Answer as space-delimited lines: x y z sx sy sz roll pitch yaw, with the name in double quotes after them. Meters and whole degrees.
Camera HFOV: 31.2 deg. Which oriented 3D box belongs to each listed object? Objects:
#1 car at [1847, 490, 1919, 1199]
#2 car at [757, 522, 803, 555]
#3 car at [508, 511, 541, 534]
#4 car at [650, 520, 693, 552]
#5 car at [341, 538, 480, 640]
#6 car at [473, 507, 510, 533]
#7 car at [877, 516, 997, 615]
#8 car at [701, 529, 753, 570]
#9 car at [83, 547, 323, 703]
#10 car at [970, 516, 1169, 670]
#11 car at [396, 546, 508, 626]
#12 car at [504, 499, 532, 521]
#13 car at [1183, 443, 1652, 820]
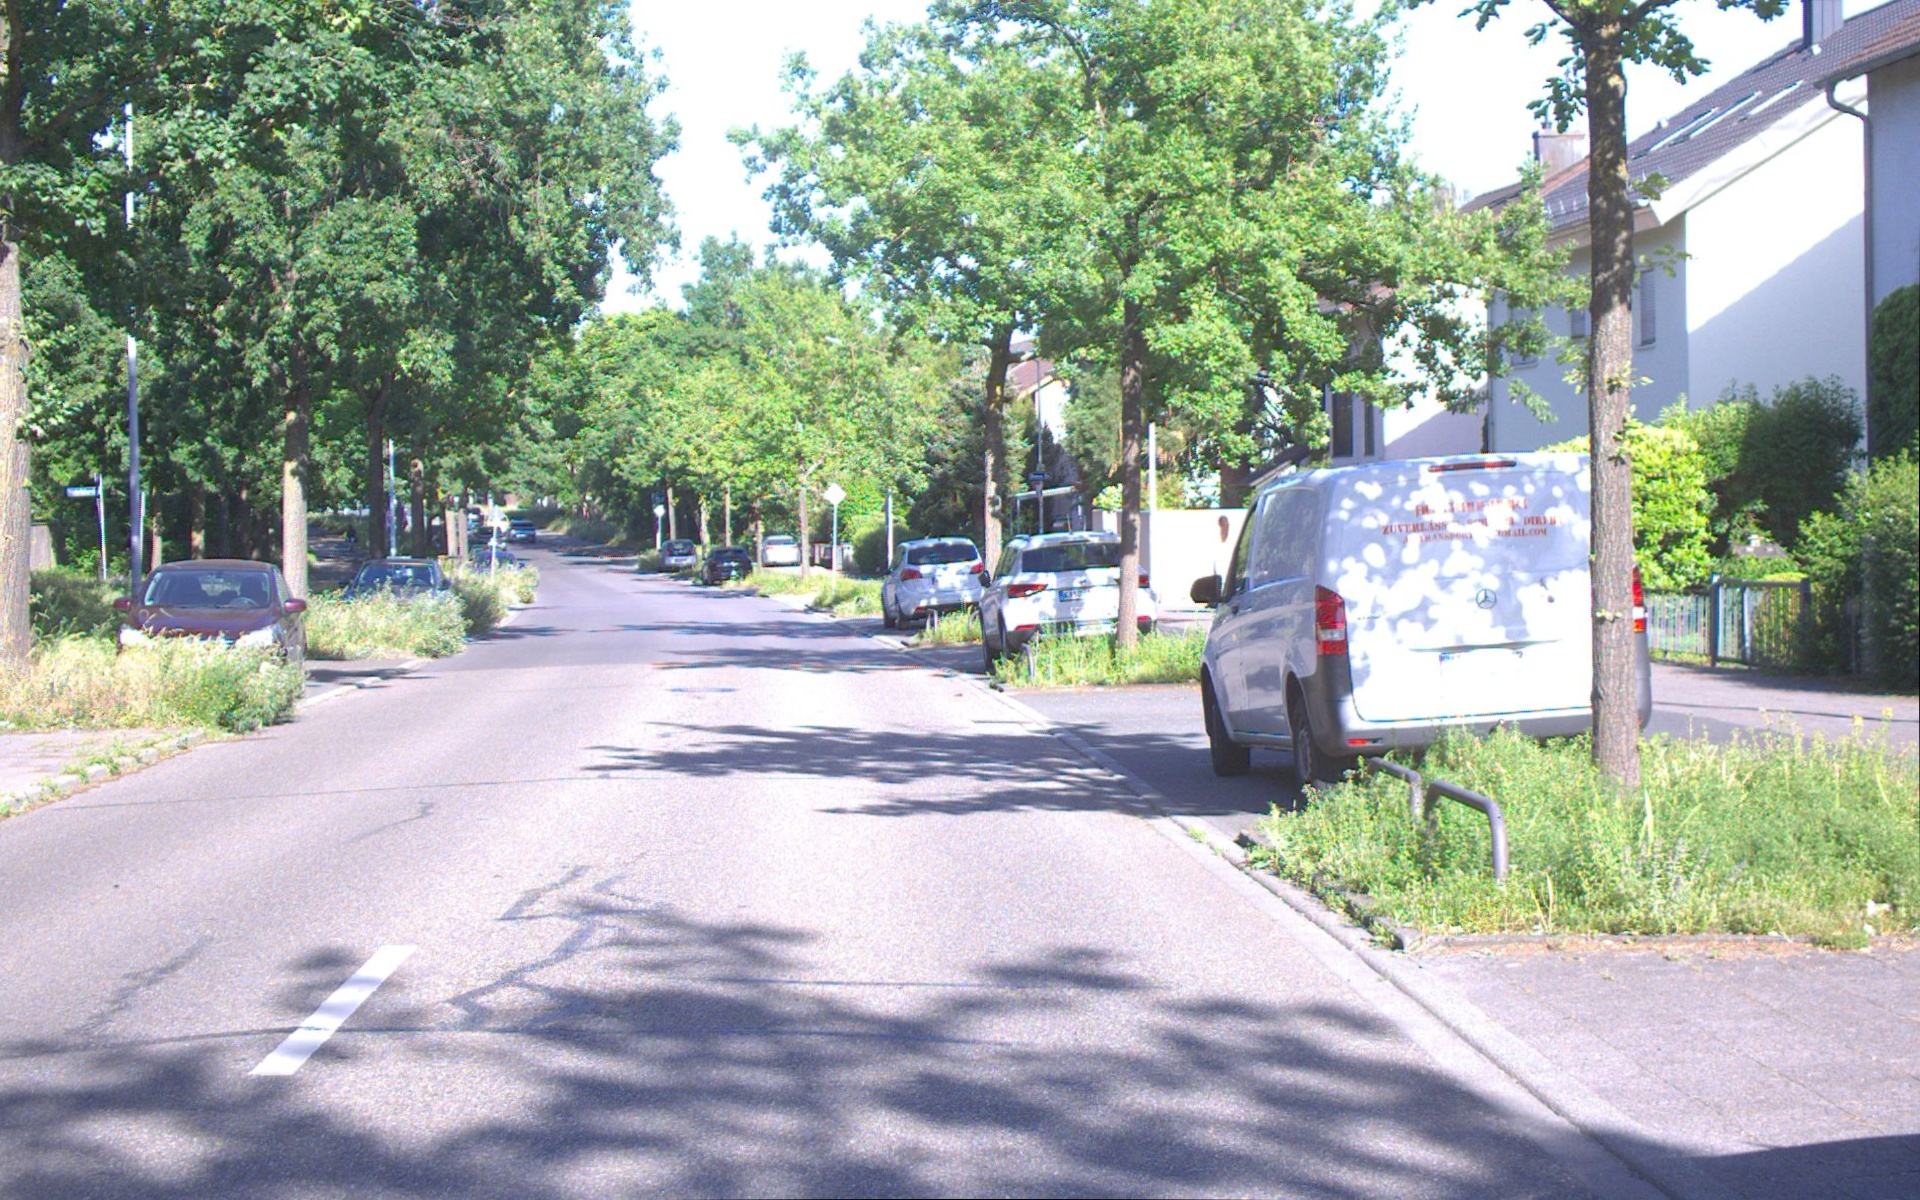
2.756 0.571 5.233 1.672 1.573 3.752 -3 1 -2 "car"
-8.287 -2.839 158.133 1.933 1.449 4.001 -1 1 -5 "car"
-28.593 -5.097 225.772 1.933 1.449 4.001 -1 1 -5 "car"
-13.464 -2.987 160.292 1.933 1.449 4.001 -1 1 -5 "car"
-8.704 -0.196 54.731 1.993 1.551 4.001 0 1 -6 "car"
-27.362 -4.661 201.022 1.933 1.449 4.001 -1 1 -5 "car"
-0.455 -0.654 63.167 1.933 1.736 4.001 -1 1 -4 "car"
-8.933 -1.951 131.901 1.933 1.537 4.001 -1 1 -4 "car"
-7.742 0.215 35.485 1.935 1.474 4.001 -1 1 -6 "car"
1.236 -0.119 40.652 1.935 1.698 4.001 -1 1 -4 "car"
-9.820 -0.290 66.701 1.796 1.474 3.520 -1 1 -3 "car"
-31.032 -6.319 241.518 1.754 1.449 4.001 -1 1 -5 "car"
2.575 0.116 20.525 1.835 1.964 4.760 -1 1 -4 "car"
